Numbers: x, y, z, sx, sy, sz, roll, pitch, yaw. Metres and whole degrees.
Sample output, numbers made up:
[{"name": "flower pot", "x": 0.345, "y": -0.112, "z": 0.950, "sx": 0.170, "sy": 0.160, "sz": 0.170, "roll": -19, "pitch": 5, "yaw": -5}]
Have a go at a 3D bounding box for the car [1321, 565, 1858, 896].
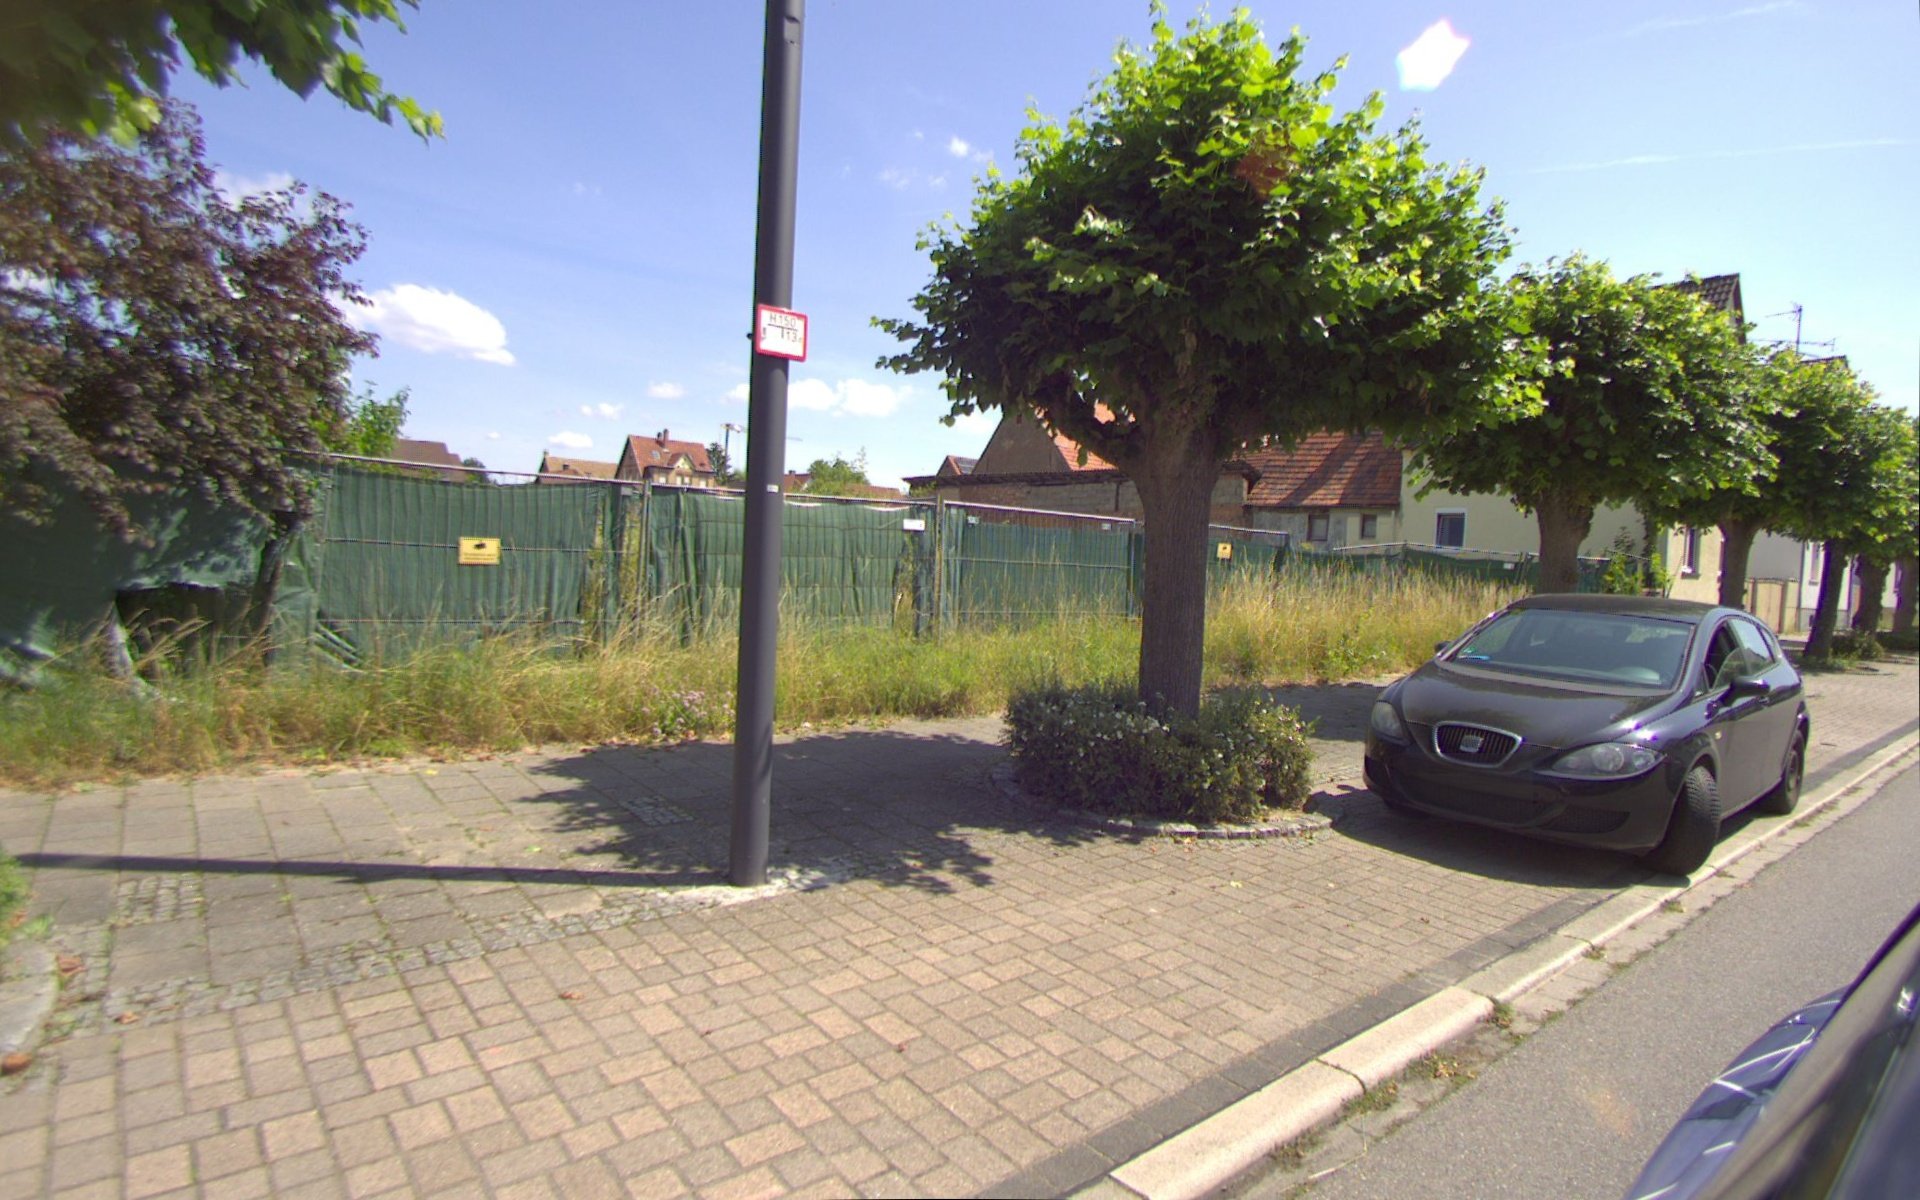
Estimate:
[{"name": "car", "x": 4.349, "y": 0.609, "z": 6.753, "sx": 3.985, "sy": 1.449, "sz": 1.829, "roll": 1, "pitch": 5, "yaw": -40}]
